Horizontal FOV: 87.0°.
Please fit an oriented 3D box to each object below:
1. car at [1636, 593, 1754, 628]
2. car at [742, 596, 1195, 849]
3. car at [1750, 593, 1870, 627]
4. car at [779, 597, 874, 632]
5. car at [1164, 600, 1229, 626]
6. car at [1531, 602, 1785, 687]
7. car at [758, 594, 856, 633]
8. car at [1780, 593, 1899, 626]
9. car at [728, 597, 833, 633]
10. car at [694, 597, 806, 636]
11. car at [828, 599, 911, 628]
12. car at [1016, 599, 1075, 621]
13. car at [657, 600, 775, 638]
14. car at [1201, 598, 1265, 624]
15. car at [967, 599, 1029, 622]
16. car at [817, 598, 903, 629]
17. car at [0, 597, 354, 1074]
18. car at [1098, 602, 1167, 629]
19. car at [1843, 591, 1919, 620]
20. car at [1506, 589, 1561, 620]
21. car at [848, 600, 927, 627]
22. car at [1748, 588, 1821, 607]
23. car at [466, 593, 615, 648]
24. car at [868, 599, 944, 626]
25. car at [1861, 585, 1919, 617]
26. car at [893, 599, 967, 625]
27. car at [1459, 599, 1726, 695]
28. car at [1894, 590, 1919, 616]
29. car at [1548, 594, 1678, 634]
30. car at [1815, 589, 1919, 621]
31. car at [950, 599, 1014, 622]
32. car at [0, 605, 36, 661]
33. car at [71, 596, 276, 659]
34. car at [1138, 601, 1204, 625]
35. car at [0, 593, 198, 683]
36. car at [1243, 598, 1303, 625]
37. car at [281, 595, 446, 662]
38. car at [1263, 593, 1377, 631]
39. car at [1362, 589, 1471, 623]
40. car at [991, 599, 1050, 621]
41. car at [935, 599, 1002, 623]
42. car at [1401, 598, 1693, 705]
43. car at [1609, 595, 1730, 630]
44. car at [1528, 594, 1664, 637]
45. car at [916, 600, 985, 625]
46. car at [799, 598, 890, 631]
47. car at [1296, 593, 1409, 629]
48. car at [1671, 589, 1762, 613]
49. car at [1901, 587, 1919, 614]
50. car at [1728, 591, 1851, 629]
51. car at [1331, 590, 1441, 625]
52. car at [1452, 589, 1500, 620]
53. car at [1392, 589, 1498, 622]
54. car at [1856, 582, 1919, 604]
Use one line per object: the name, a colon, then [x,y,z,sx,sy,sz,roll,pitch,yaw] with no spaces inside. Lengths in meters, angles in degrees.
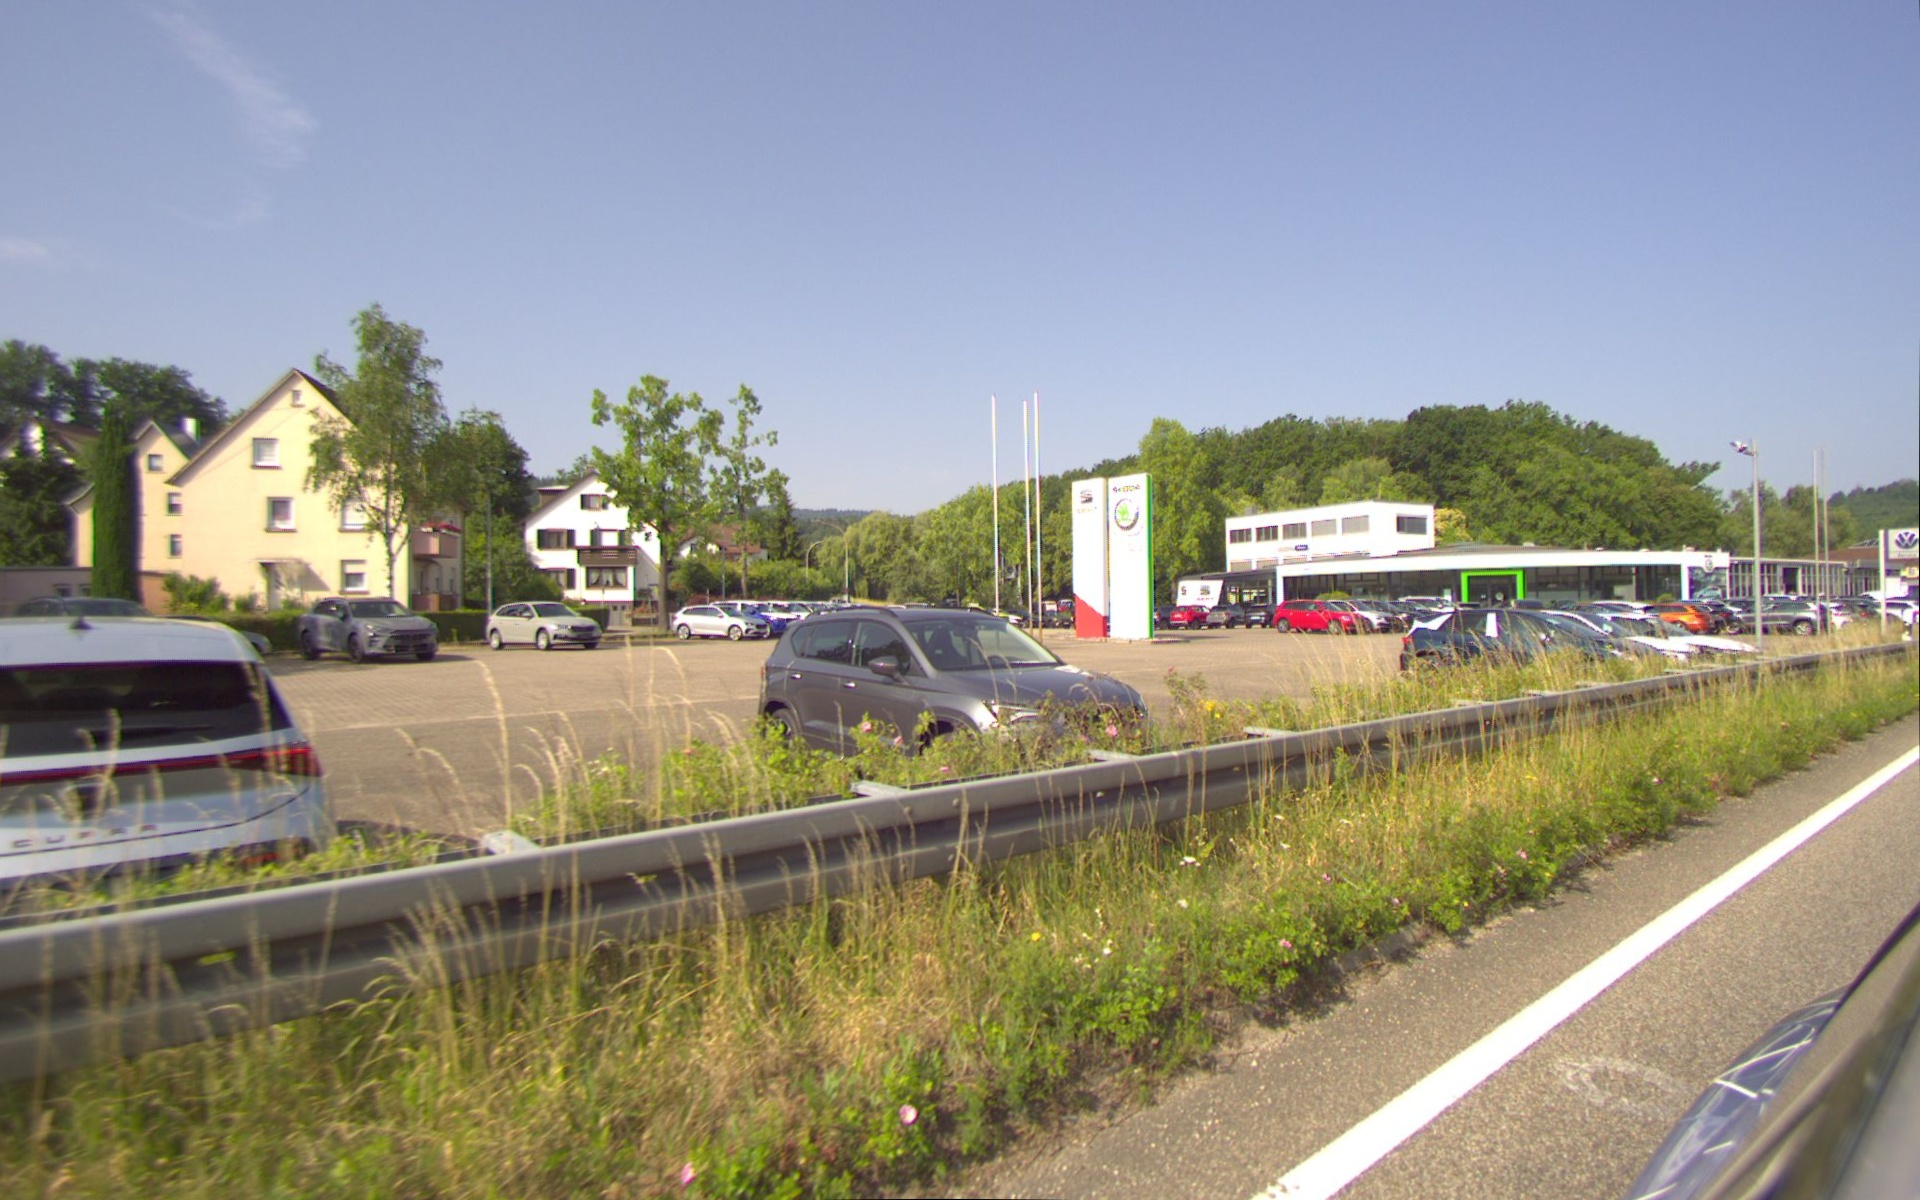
car: [33.367,0.449,46.056,1.807,1.505,3.999,-1,0,-36]
car: [-0.138,0.804,8.866,1.854,1.660,3.995,-1,0,-40]
car: [40.049,0.438,47.765,1.756,1.513,4.000,-1,0,-34]
car: [-6.999,0.733,53.052,4.706,1.654,1.914,1,1,27]
car: [15.794,0.858,67.469,4.529,1.565,2.001,-1,1,-41]
car: [14.789,0.859,21.652,1.700,1.509,4.170,-1,2,-38]
car: [-7.662,0.649,50.519,4.709,1.802,1.912,1,1,29]
car: [42.328,0.415,48.783,1.696,1.513,4.002,0,0,-32]
car: [-8.503,0.677,47.977,4.700,1.608,1.916,1,1,24]
car: [-9.472,0.705,45.733,4.694,1.608,1.919,1,1,21]
car: [-5.416,0.791,60.335,4.703,1.565,1.761,1,1,26]
car: [6.782,0.758,80.519,1.747,1.565,4.740,-1,1,-44]
car: [-10.397,0.786,43.142,4.694,1.477,1.919,1,1,21]
car: [17.634,0.667,65.277,1.997,1.565,4.537,1,1,44]
car: [2.858,0.785,76.948,4.734,1.565,1.750,1,1,42]
car: [-5.741,0.740,58.066,4.707,1.654,1.913,1,1,28]
car: [-4.369,0.797,5.109,1.746,1.600,3.996,-1,0,-38]
car: [11.110,0.989,65.146,4.378,1.565,1.840,-1,1,-35]
car: [50.370,0.271,54.422,1.687,1.504,4.055,0,1,-27]
car: [31.631,0.206,55.947,1.908,1.584,4.719,0,1,21]
car: [-4.485,0.812,62.430,4.707,1.565,1.759,1,1,28]
car: [67.517,-0.206,82.952,1.756,1.483,4.326,-1,1,-33]
car: [-12.883,0.572,30.992,4.728,1.541,1.973,0,0,35]
car: [-3.459,0.774,64.778,4.710,1.565,1.758,1,1,30]
car: [52.300,0.048,55.505,1.802,1.684,3.897,0,1,-27]
car: [-2.003,0.775,67.023,4.712,1.565,1.758,1,1,31]
car: [12.446,0.833,20.153,1.739,1.575,4.170,-1,2,-38]
car: [55.681,0.167,57.343,1.632,1.477,3.747,0,1,-31]
car: [26.664,0.517,41.447,1.791,1.535,4.104,-1,0,-36]
car: [47.990,0.228,53.106,1.820,1.620,4.462,-1,1,-35]
car: [1.597,0.754,74.598,4.728,1.565,1.752,1,1,39]
car: [-21.881,0.729,21.050,1.575,1.201,3.637,0,1,21]
car: [-20.744,0.665,26.877,1.769,1.493,3.954,0,0,25]
car: [14.511,0.871,69.581,4.376,1.565,1.841,-1,1,-33]
car: [-17.337,0.678,20.067,4.453,1.620,1.824,0,0,27]
car: [19.605,0.674,63.262,1.995,1.565,4.543,1,1,41]
car: [-15.081,0.652,25.505,4.604,1.541,1.841,0,0,35]
car: [16.341,0.487,46.167,1.895,1.584,4.753,-1,1,-34]
car: [23.148,0.282,51.485,1.895,1.584,4.753,-1,1,-34]
car: [4.688,0.784,79.000,1.747,1.565,4.740,-1,1,-44]
car: [0.563,0.780,72.305,4.725,1.565,1.753,1,1,38]
car: [10.298,0.801,18.024,1.709,1.564,4.170,-1,2,-38]
car: [31.091,0.498,44.416,1.791,1.464,3.999,-1,1,-36]
car: [24.739,0.544,39.490,1.792,1.535,4.165,-1,1,-40]
car: [-0.691,0.838,70.011,4.724,1.565,1.816,1,1,37]
car: [-6.350,0.752,55.423,4.704,1.654,1.914,1,1,27]
car: [18.488,0.474,47.851,1.895,1.584,4.753,-1,1,-34]
car: [49.553,0.024,66.428,1.753,1.507,4.731,0,1,-14]
car: [57.839,0.044,58.981,1.746,1.571,4.100,0,1,-31]
car: [37.934,0.417,46.348,1.759,1.630,4.087,-1,0,-37]
car: [20.763,0.312,49.515,1.895,1.584,4.753,-1,1,-34]
car: [29.016,0.206,56.997,1.908,1.584,4.719,0,1,21]
car: [25.459,0.263,53.293,1.895,1.584,4.753,-1,1,-34]
car: [85.306,-0.688,92.844,1.755,1.948,4.328,0,1,-31]
